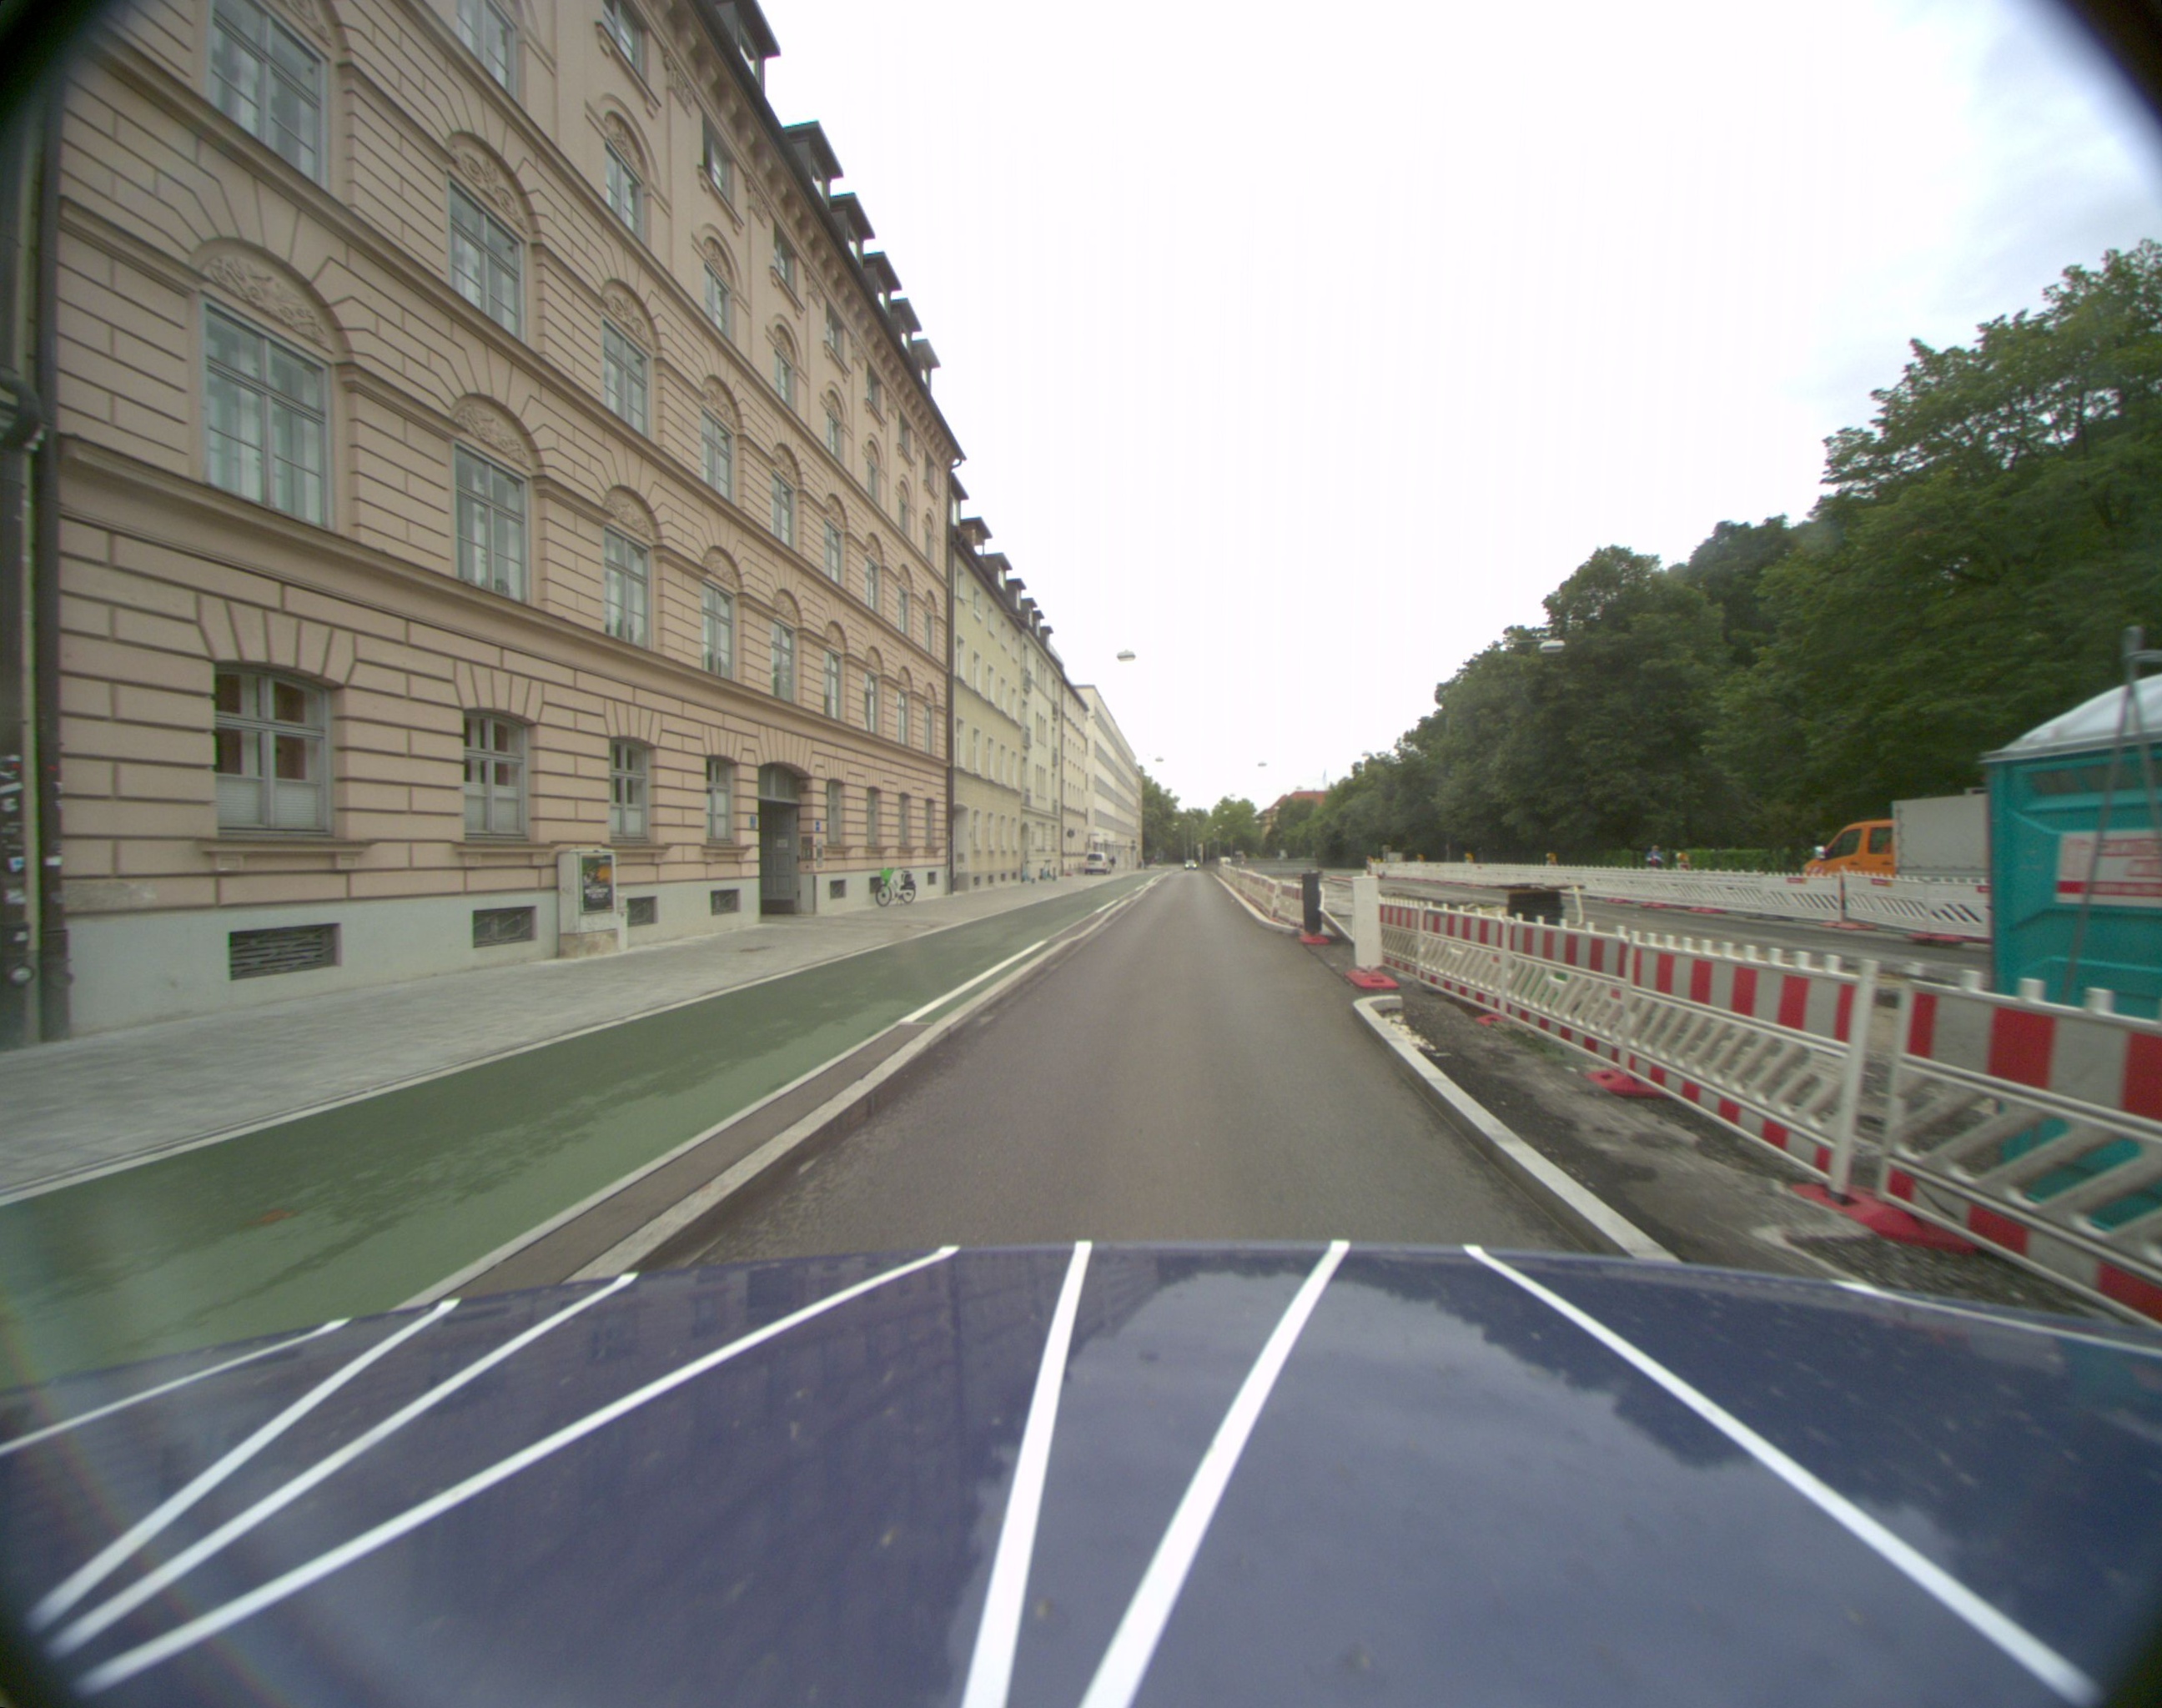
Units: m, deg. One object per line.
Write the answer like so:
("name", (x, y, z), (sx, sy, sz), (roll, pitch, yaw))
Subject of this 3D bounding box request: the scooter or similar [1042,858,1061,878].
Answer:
("scooter or similar", (-1.797, 0.840, 45.839), (1.121, 1.224, 0.246), (1, 2, -25))

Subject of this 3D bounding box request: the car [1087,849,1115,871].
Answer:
("car", (1.724, 0.473, 63.304), (1.736, 1.739, 4.438), (1, 0, 9))

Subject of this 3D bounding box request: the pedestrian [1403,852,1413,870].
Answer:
("pedestrian", (29.843, 0.597, 69.297), (0.664, 1.631, 0.698), (-1, 0, 9))

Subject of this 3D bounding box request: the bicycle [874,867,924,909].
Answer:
("bicycle", (-5.393, 0.998, 22.585), (0.426, 1.167, 1.734), (1, 1, 26))

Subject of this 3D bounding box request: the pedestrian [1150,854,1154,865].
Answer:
("pedestrian", (11.510, 0.914, 123.536), (0.513, 1.825, 0.602), (4, 1, 9))

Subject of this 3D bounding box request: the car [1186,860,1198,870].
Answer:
("car", (20.088, 2.038, 137.603), (1.997, 1.738, 4.002), (-1, 0, 7))

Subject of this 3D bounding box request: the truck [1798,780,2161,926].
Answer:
("truck", (19.684, -0.012, 17.249), (1.997, 2.712, 5.874), (0, 0, 9))

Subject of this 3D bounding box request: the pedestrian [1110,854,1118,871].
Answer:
("pedestrian", (3.305, 0.828, 75.763), (0.666, 1.626, 0.738), (1, 1, 8))

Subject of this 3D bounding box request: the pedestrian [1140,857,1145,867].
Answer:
("pedestrian", (10.104, 1.295, 124.932), (0.753, 1.610, 0.704), (4, 1, 9))

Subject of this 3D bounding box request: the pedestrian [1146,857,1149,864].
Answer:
("pedestrian", (10.781, 1.045, 123.477), (0.367, 1.239, 0.470), (4, 1, 9))

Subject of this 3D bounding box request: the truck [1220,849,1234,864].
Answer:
("truck", (26.091, 0.432, 135.989), (2.057, 2.625, 4.415), (0, 0, 7))

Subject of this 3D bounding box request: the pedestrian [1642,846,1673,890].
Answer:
("pedestrian", (21.662, 0.523, 28.554), (0.664, 1.593, 0.698), (-1, 0, 9))

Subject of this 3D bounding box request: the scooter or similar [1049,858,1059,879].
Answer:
("scooter or similar", (-1.690, 0.877, 47.196), (0.387, 1.265, 1.120), (2, 1, 8))

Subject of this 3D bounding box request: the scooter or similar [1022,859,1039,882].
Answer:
("scooter or similar", (-2.717, 0.862, 40.871), (0.246, 1.224, 1.122), (3, 2, 34))
